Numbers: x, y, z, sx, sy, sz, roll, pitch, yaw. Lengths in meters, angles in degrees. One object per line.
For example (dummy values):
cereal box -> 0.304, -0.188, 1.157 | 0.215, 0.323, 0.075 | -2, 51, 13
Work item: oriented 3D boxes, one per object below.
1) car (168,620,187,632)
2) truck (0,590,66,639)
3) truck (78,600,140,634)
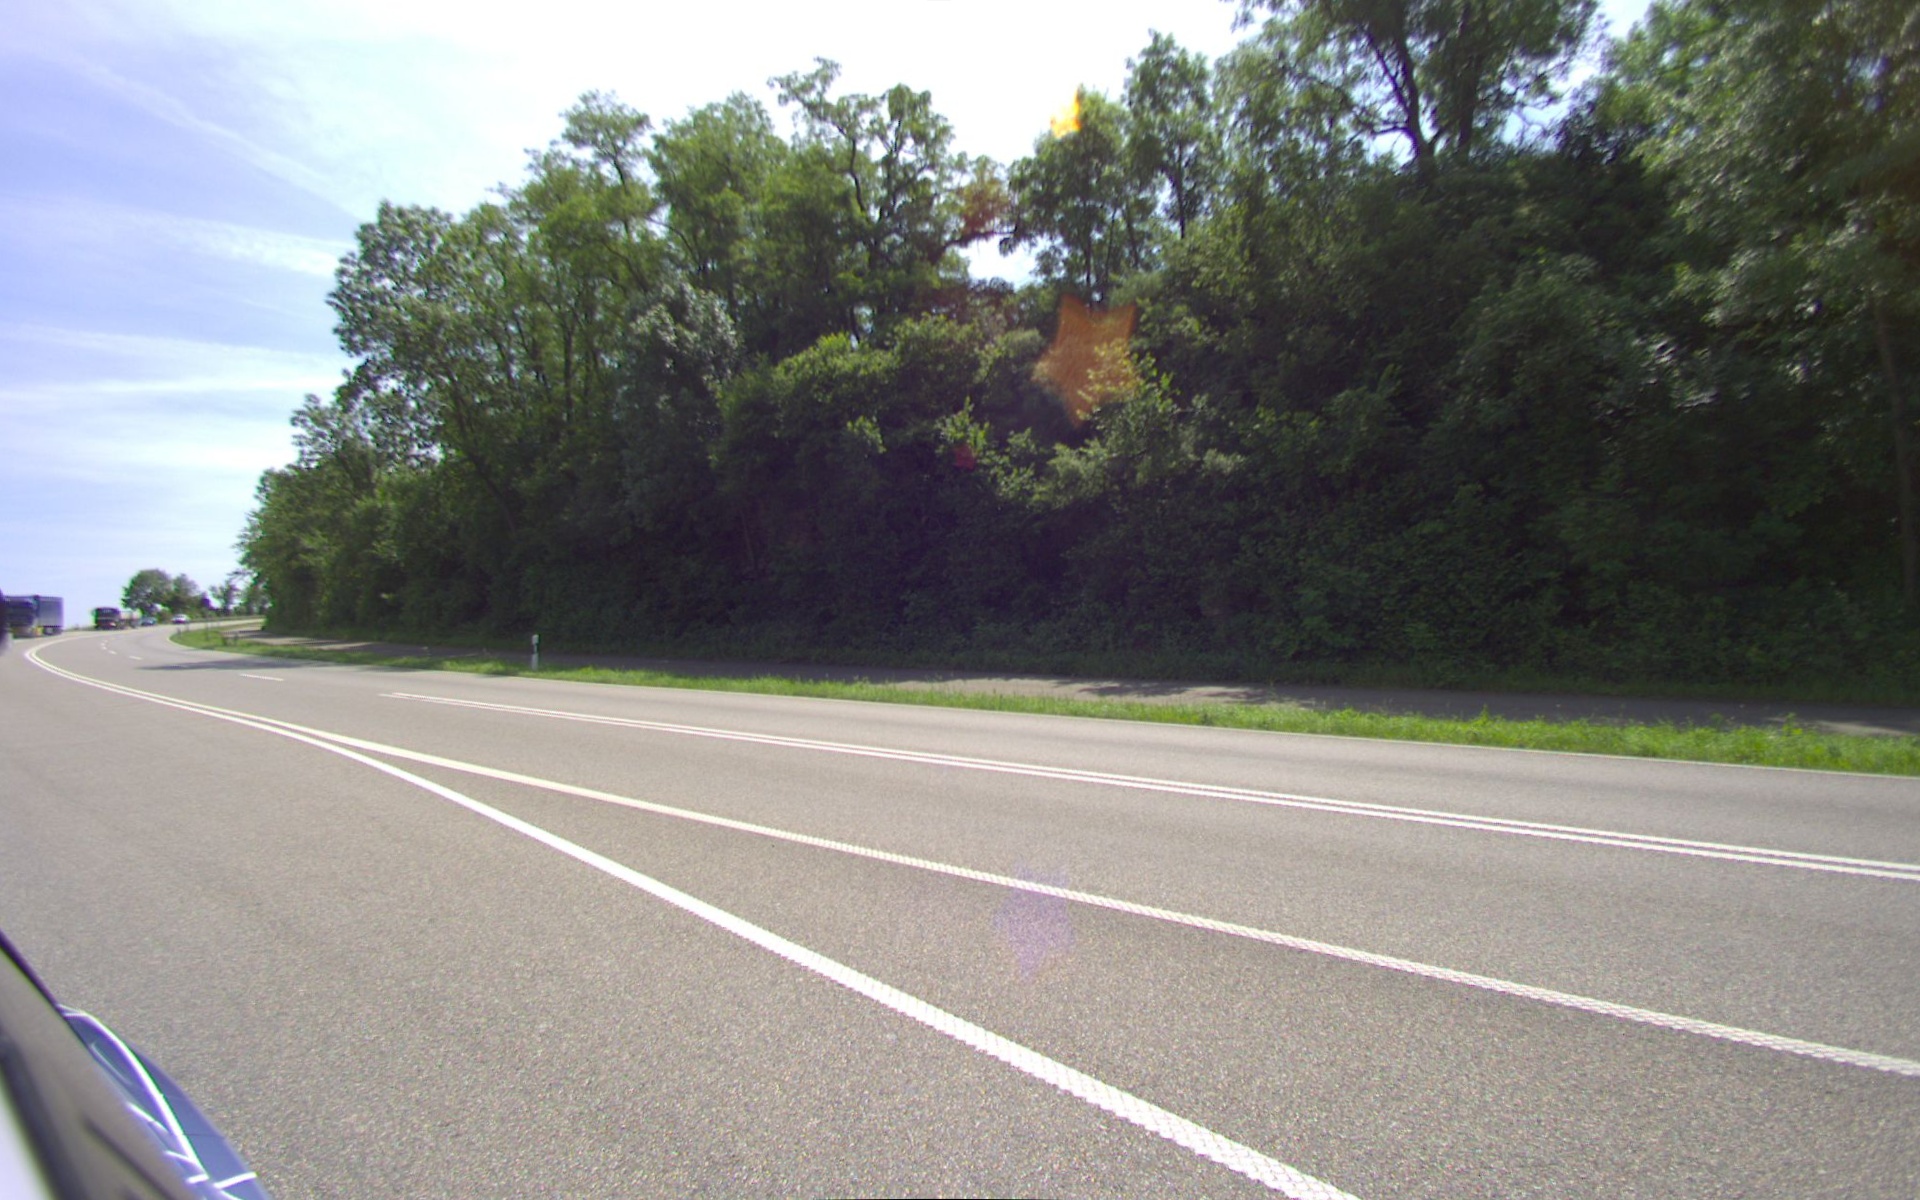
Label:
car -> -134.179, 4.397, 173.521 | 1.826, 2.029, 3.901 | 0, 0, -25
truck -> -91.647, 1.460, 98.977 | 4.328, 4.493, 14.751 | -1, -1, -34
truck -> -117.258, 2.358, 139.741 | 3.921, 4.493, 14.384 | -1, -1, -29
